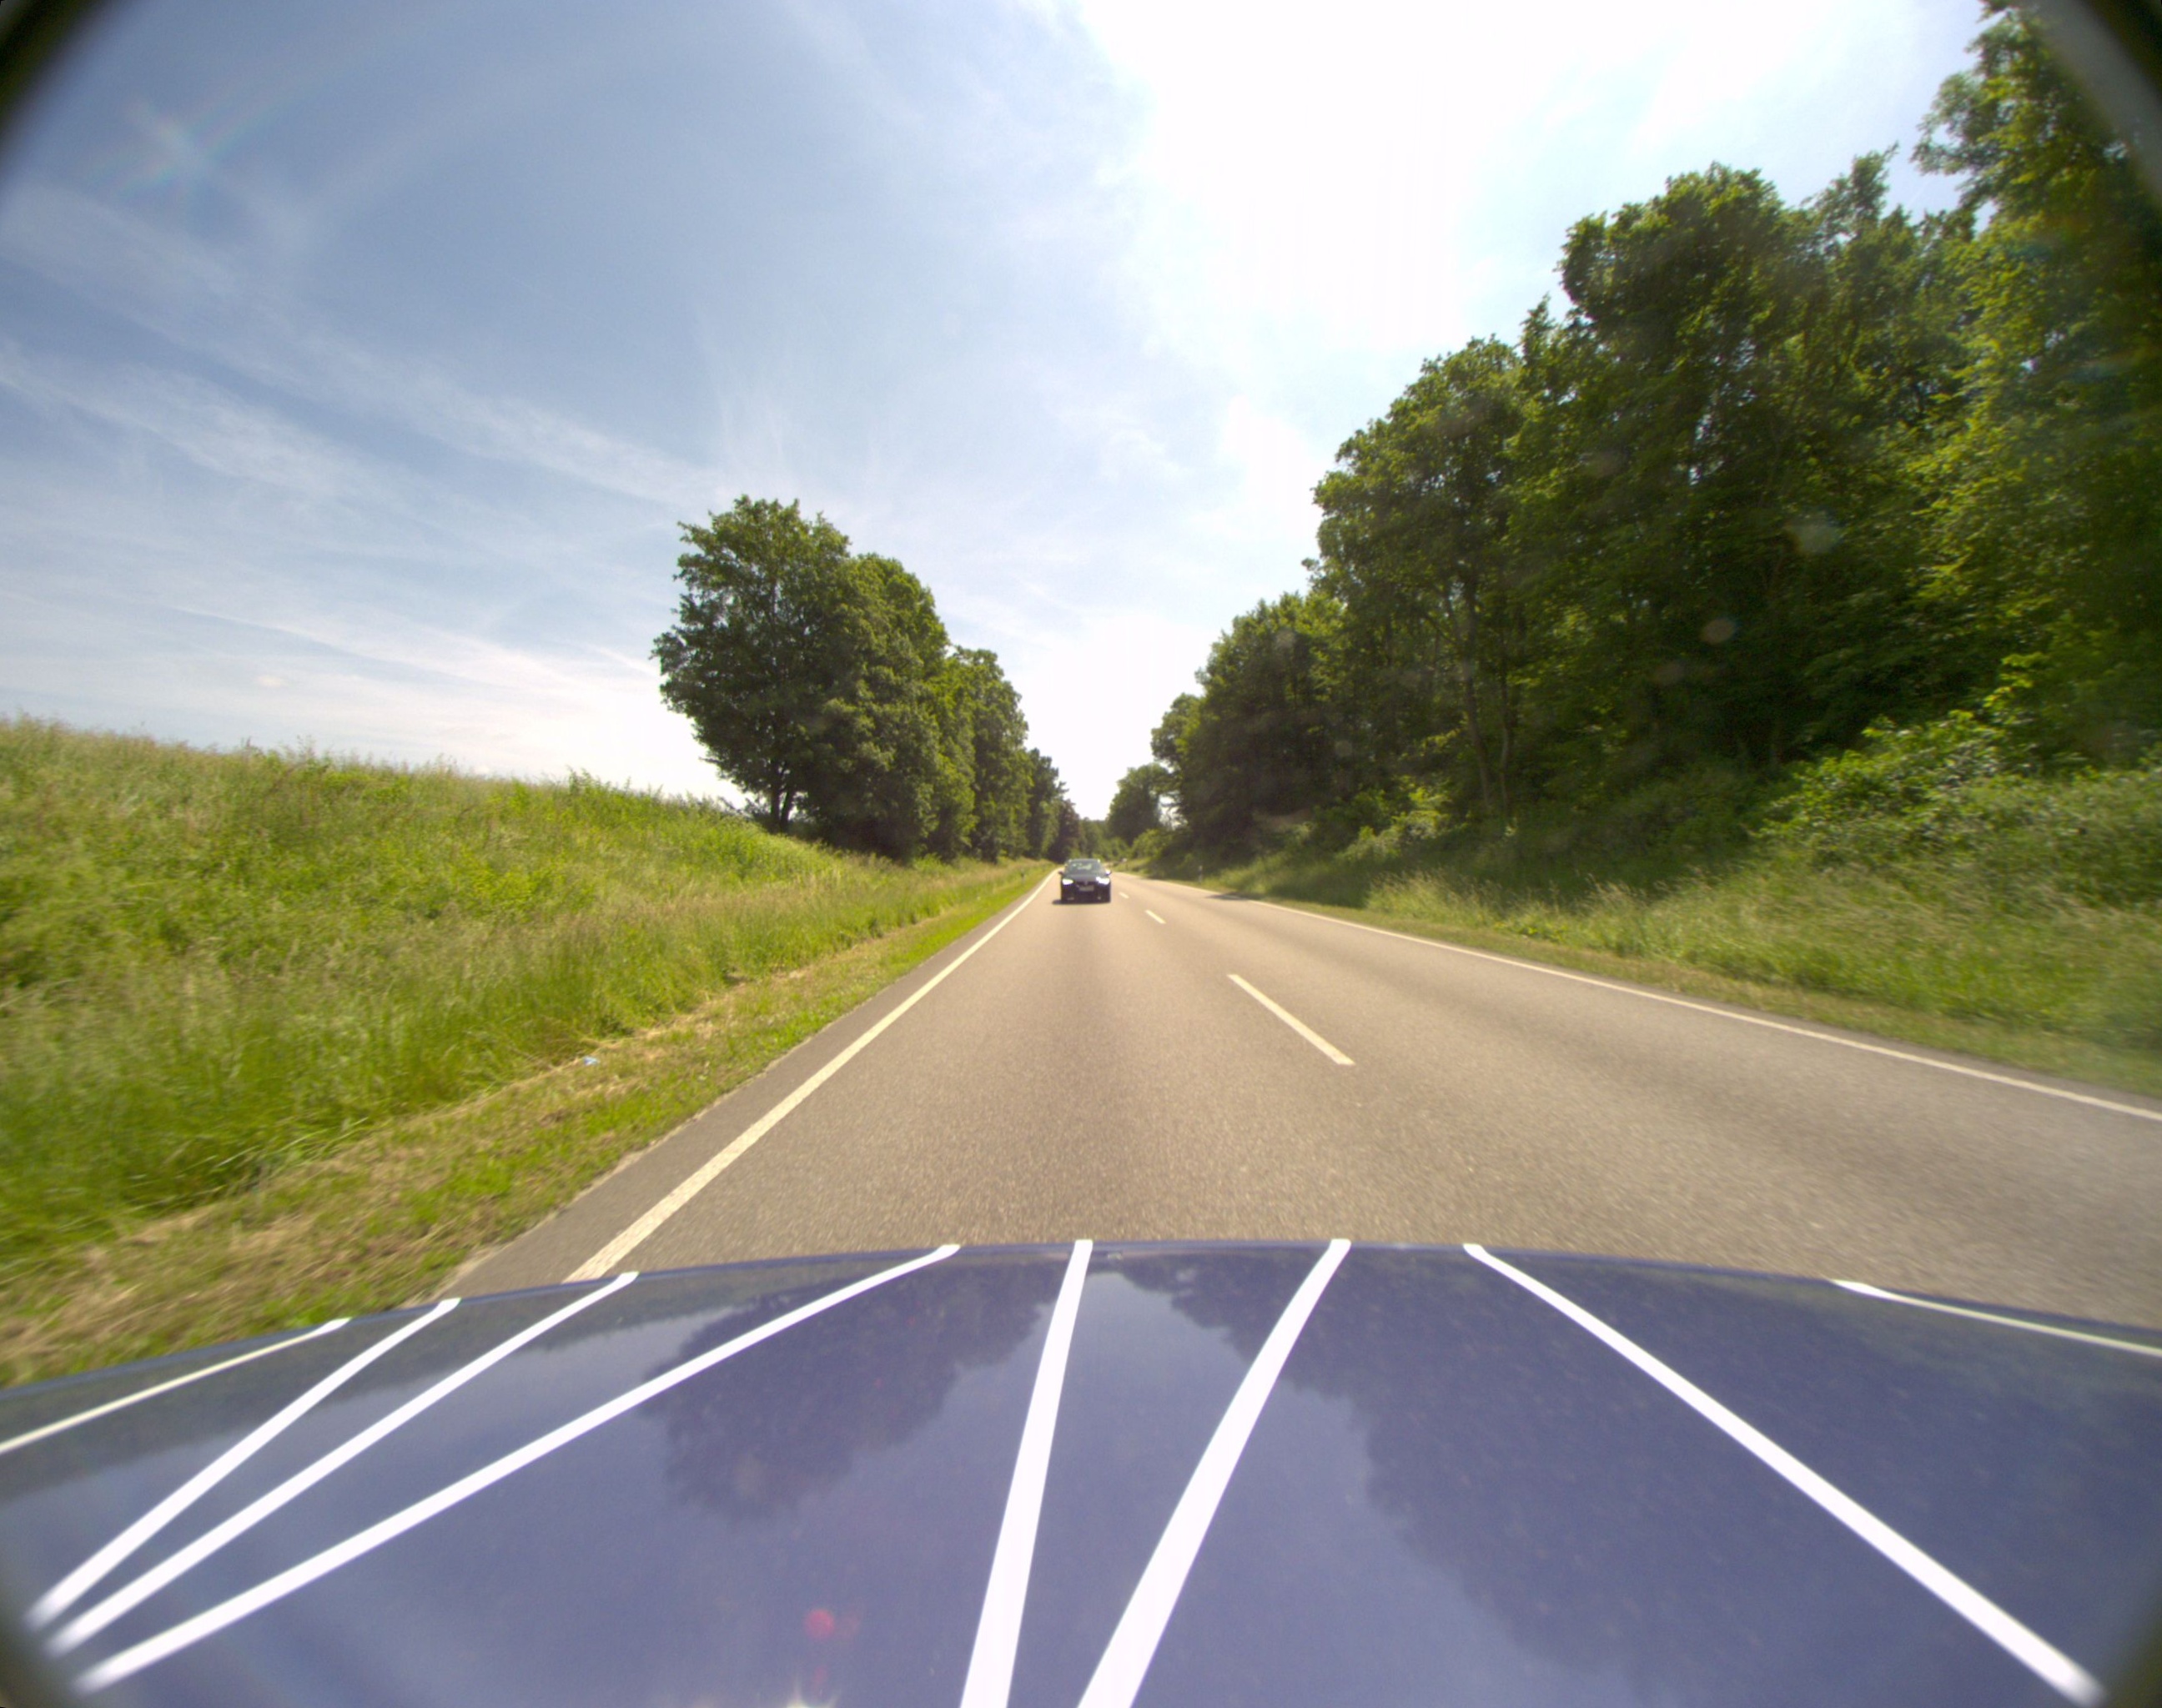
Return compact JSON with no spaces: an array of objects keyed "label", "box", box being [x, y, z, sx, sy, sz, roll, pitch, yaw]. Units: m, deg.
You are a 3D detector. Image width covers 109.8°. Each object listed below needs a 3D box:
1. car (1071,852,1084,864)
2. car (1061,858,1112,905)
[{"label":"car","box":[-0.592,0.726,133.649,1.998,2.002,4.000,-4,0,1]},{"label":"car","box":[0.190,0.933,27.146,1.662,1.531,3.487,-1,0,0]}]
